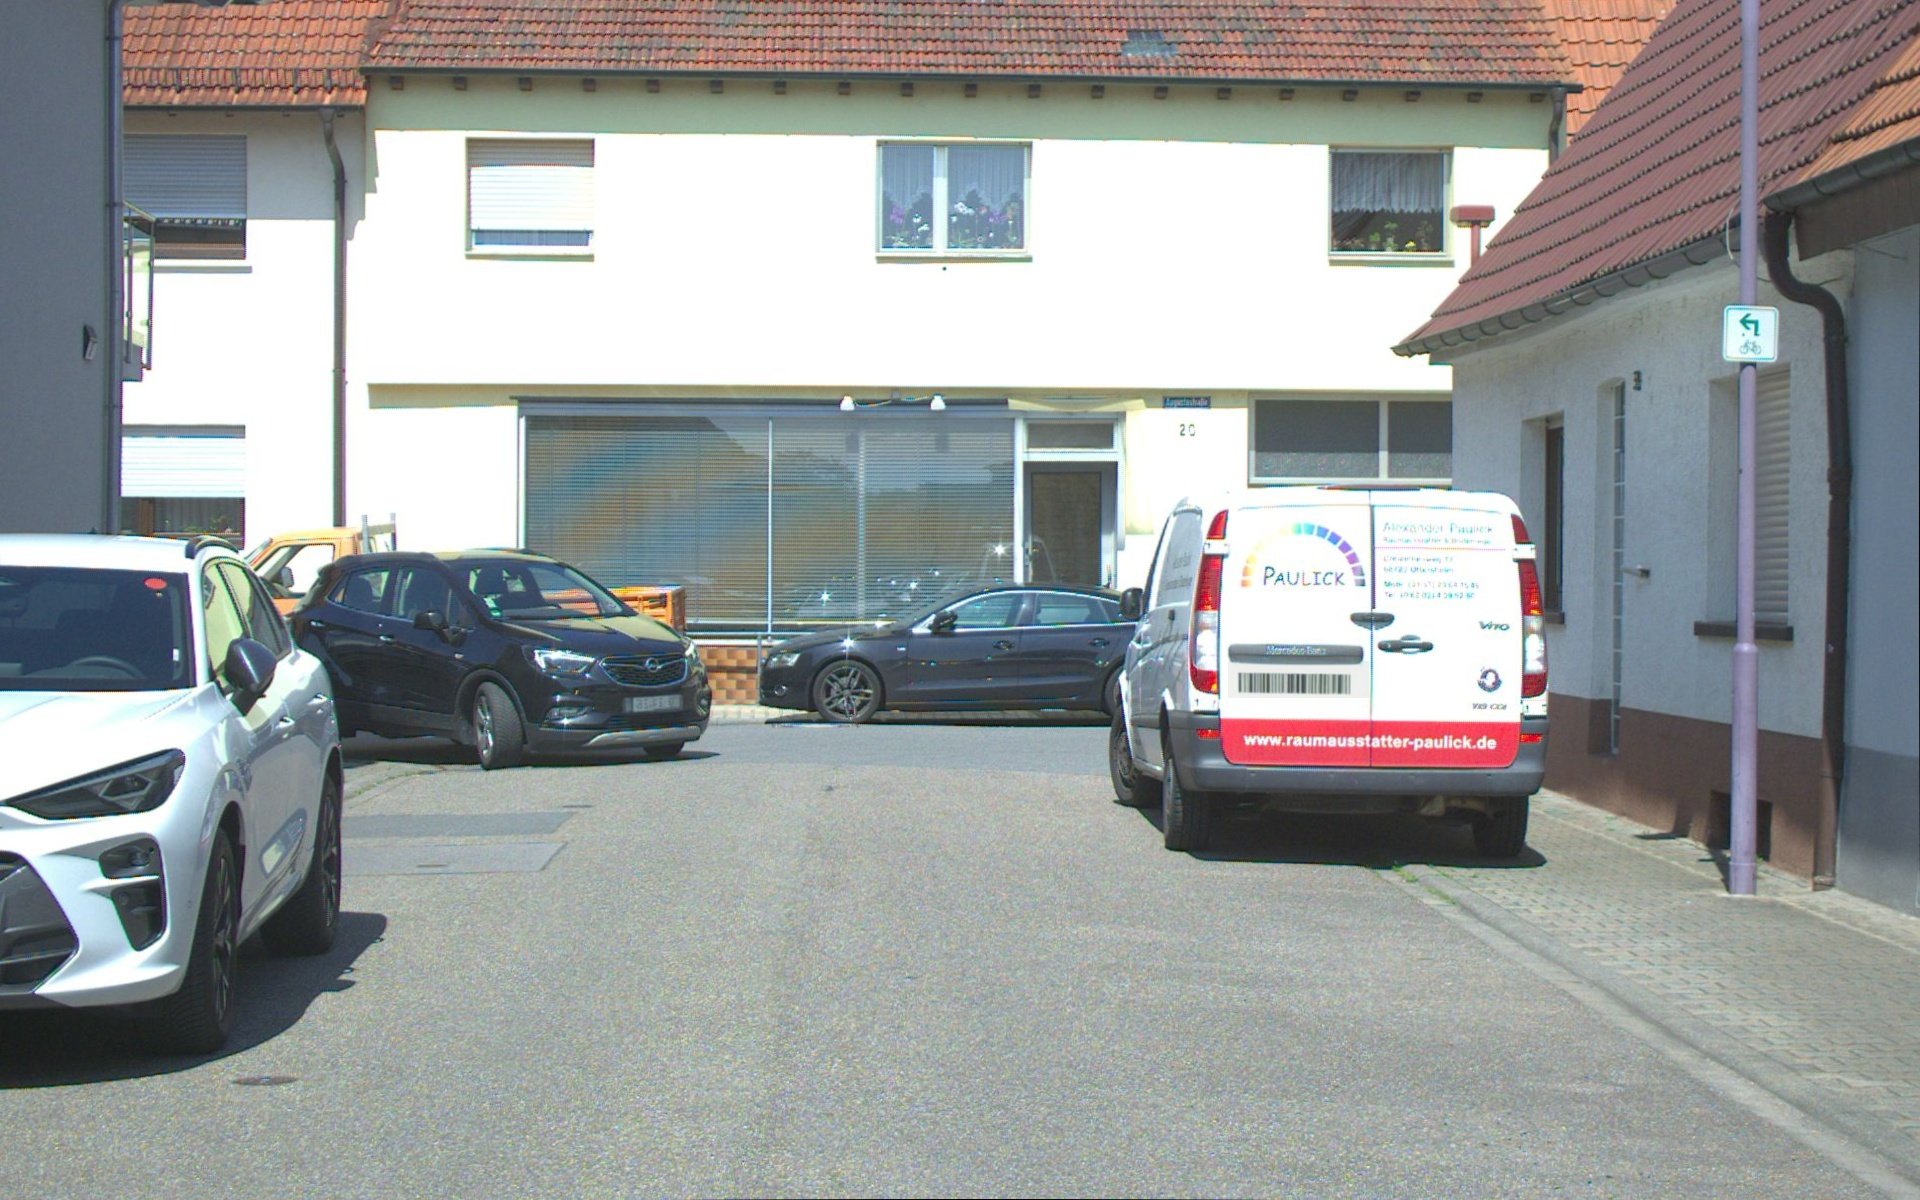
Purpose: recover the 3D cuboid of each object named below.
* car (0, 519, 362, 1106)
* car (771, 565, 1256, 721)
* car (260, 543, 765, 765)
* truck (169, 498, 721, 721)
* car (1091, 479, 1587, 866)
[{"bbox_3d":[-3.140,0.567,11.584,1.774,1.610,4.349,0,1,-4],"label":"car"},{"bbox_3d":[0.470,0.445,33.717,4.616,1.390,1.928,1,-3,-3],"label":"car"},{"bbox_3d":[-3.567,0.362,26.862,1.757,1.577,4.278,-1,1,-43],"label":"car"},{"bbox_3d":[-4.941,0.091,33.583,5.063,2.007,2.190,1,0,-1],"label":"truck"},{"bbox_3d":[1.953,0.330,19.424,2.012,1.832,5.266,2,0,-2],"label":"car"}]
